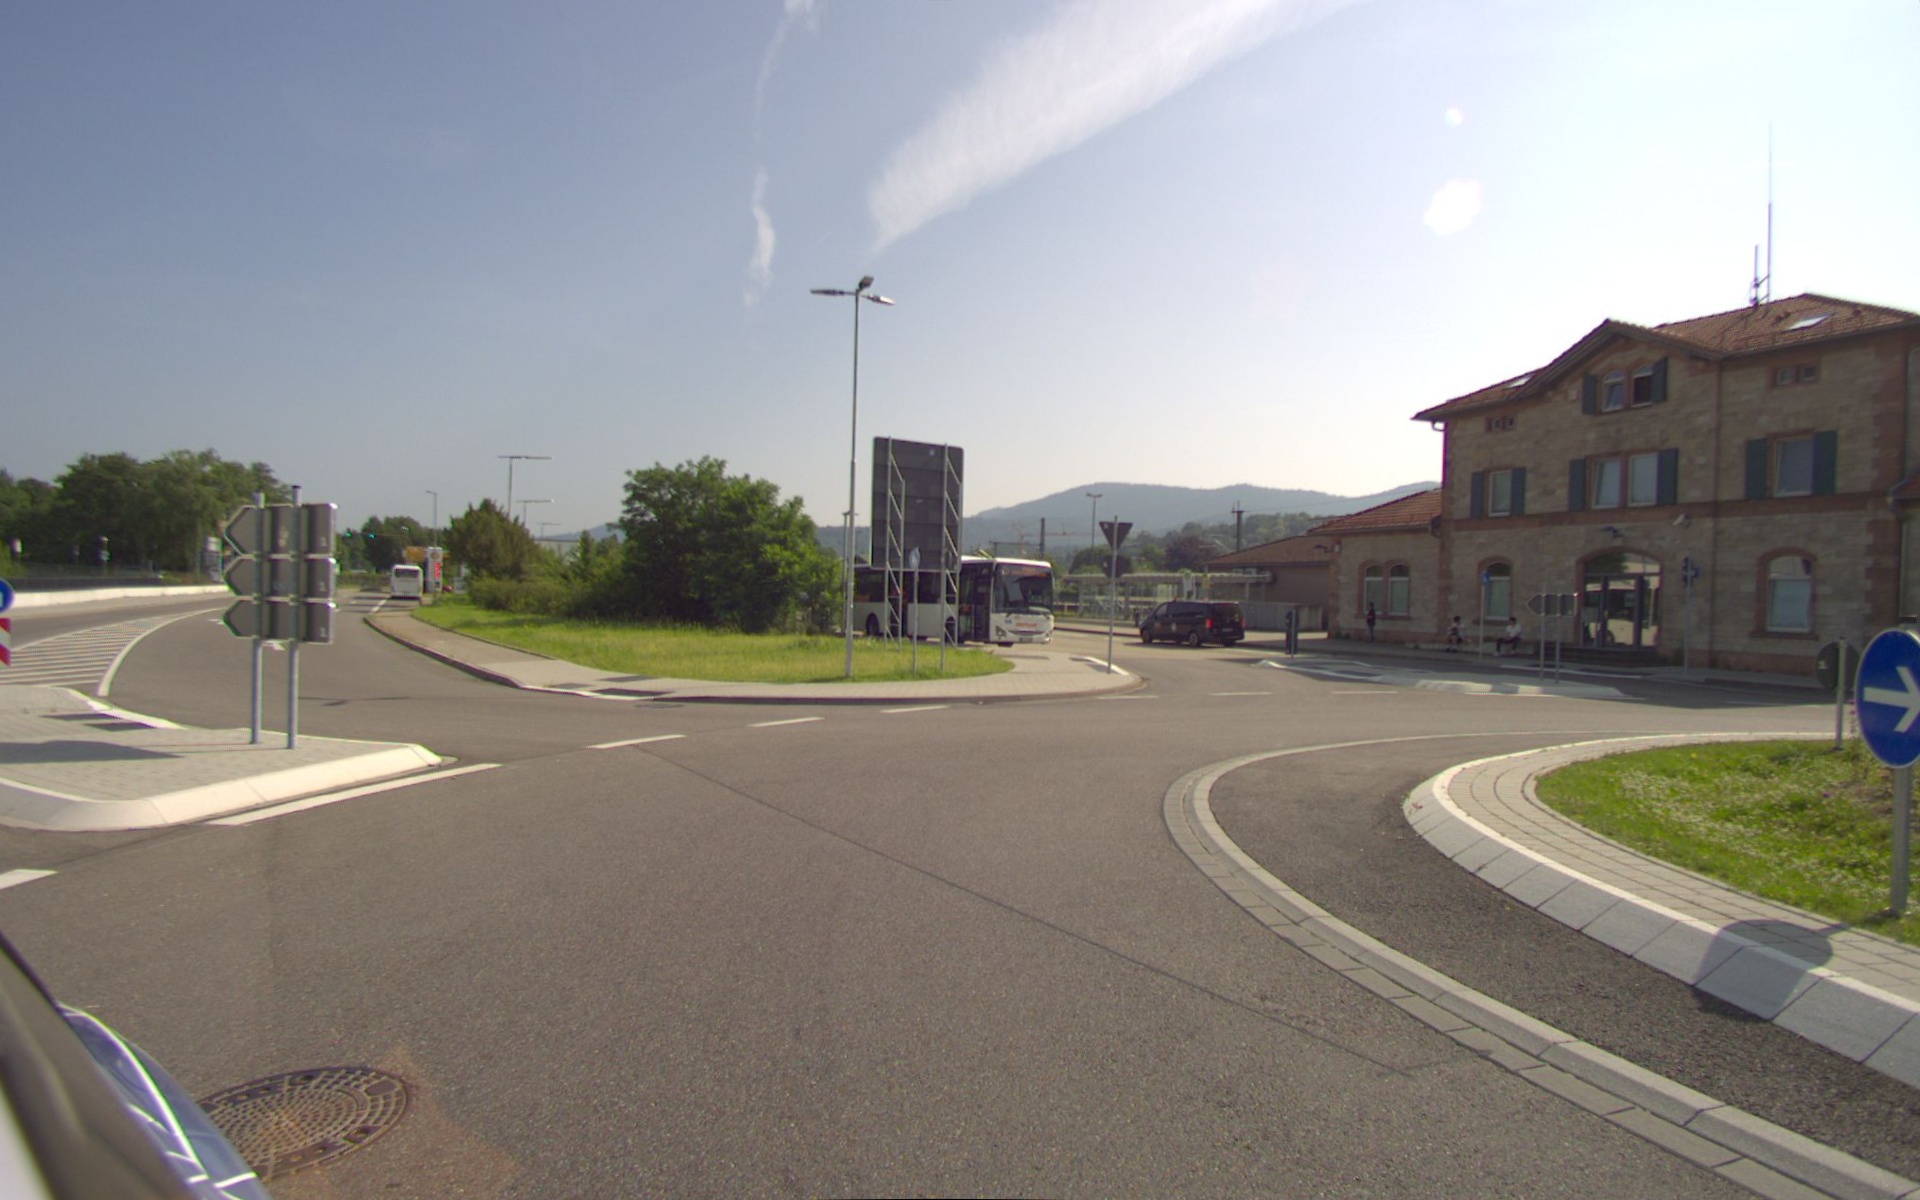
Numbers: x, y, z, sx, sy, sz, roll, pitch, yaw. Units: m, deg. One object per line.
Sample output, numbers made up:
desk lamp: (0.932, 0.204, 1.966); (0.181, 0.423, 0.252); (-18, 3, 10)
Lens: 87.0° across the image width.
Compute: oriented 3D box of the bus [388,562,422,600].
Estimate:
bus: (-53.132, -1.805, 96.889); (2.584, 3.335, 11.995); (2, 0, -29)

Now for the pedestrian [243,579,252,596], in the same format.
pedestrian: (-70.923, -1.262, 100.690); (0.701, 1.684, 0.595); (2, 0, -35)

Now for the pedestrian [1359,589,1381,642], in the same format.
pedestrian: (16.015, 0.596, 39.527); (0.522, 2.029, 0.579); (2, 0, -7)

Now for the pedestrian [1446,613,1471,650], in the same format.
pedestrian: (17.036, 1.071, 34.613); (0.435, 1.213, 0.586); (2, 0, -25)

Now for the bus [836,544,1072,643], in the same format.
bus: (-0.715, -0.228, 37.942); (3.022, 3.147, 11.754); (1, 0, -33)

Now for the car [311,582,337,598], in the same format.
car: (-61.657, -0.987, 98.174); (1.747, 1.484, 4.233); (2, 0, -28)

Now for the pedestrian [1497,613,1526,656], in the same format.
pedestrian: (17.774, 1.110, 32.602); (0.557, 1.359, 0.554); (2, 0, -22)

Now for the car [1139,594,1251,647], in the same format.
car: (9.550, 0.793, 41.564); (1.813, 1.960, 4.898); (2, 0, -24)
